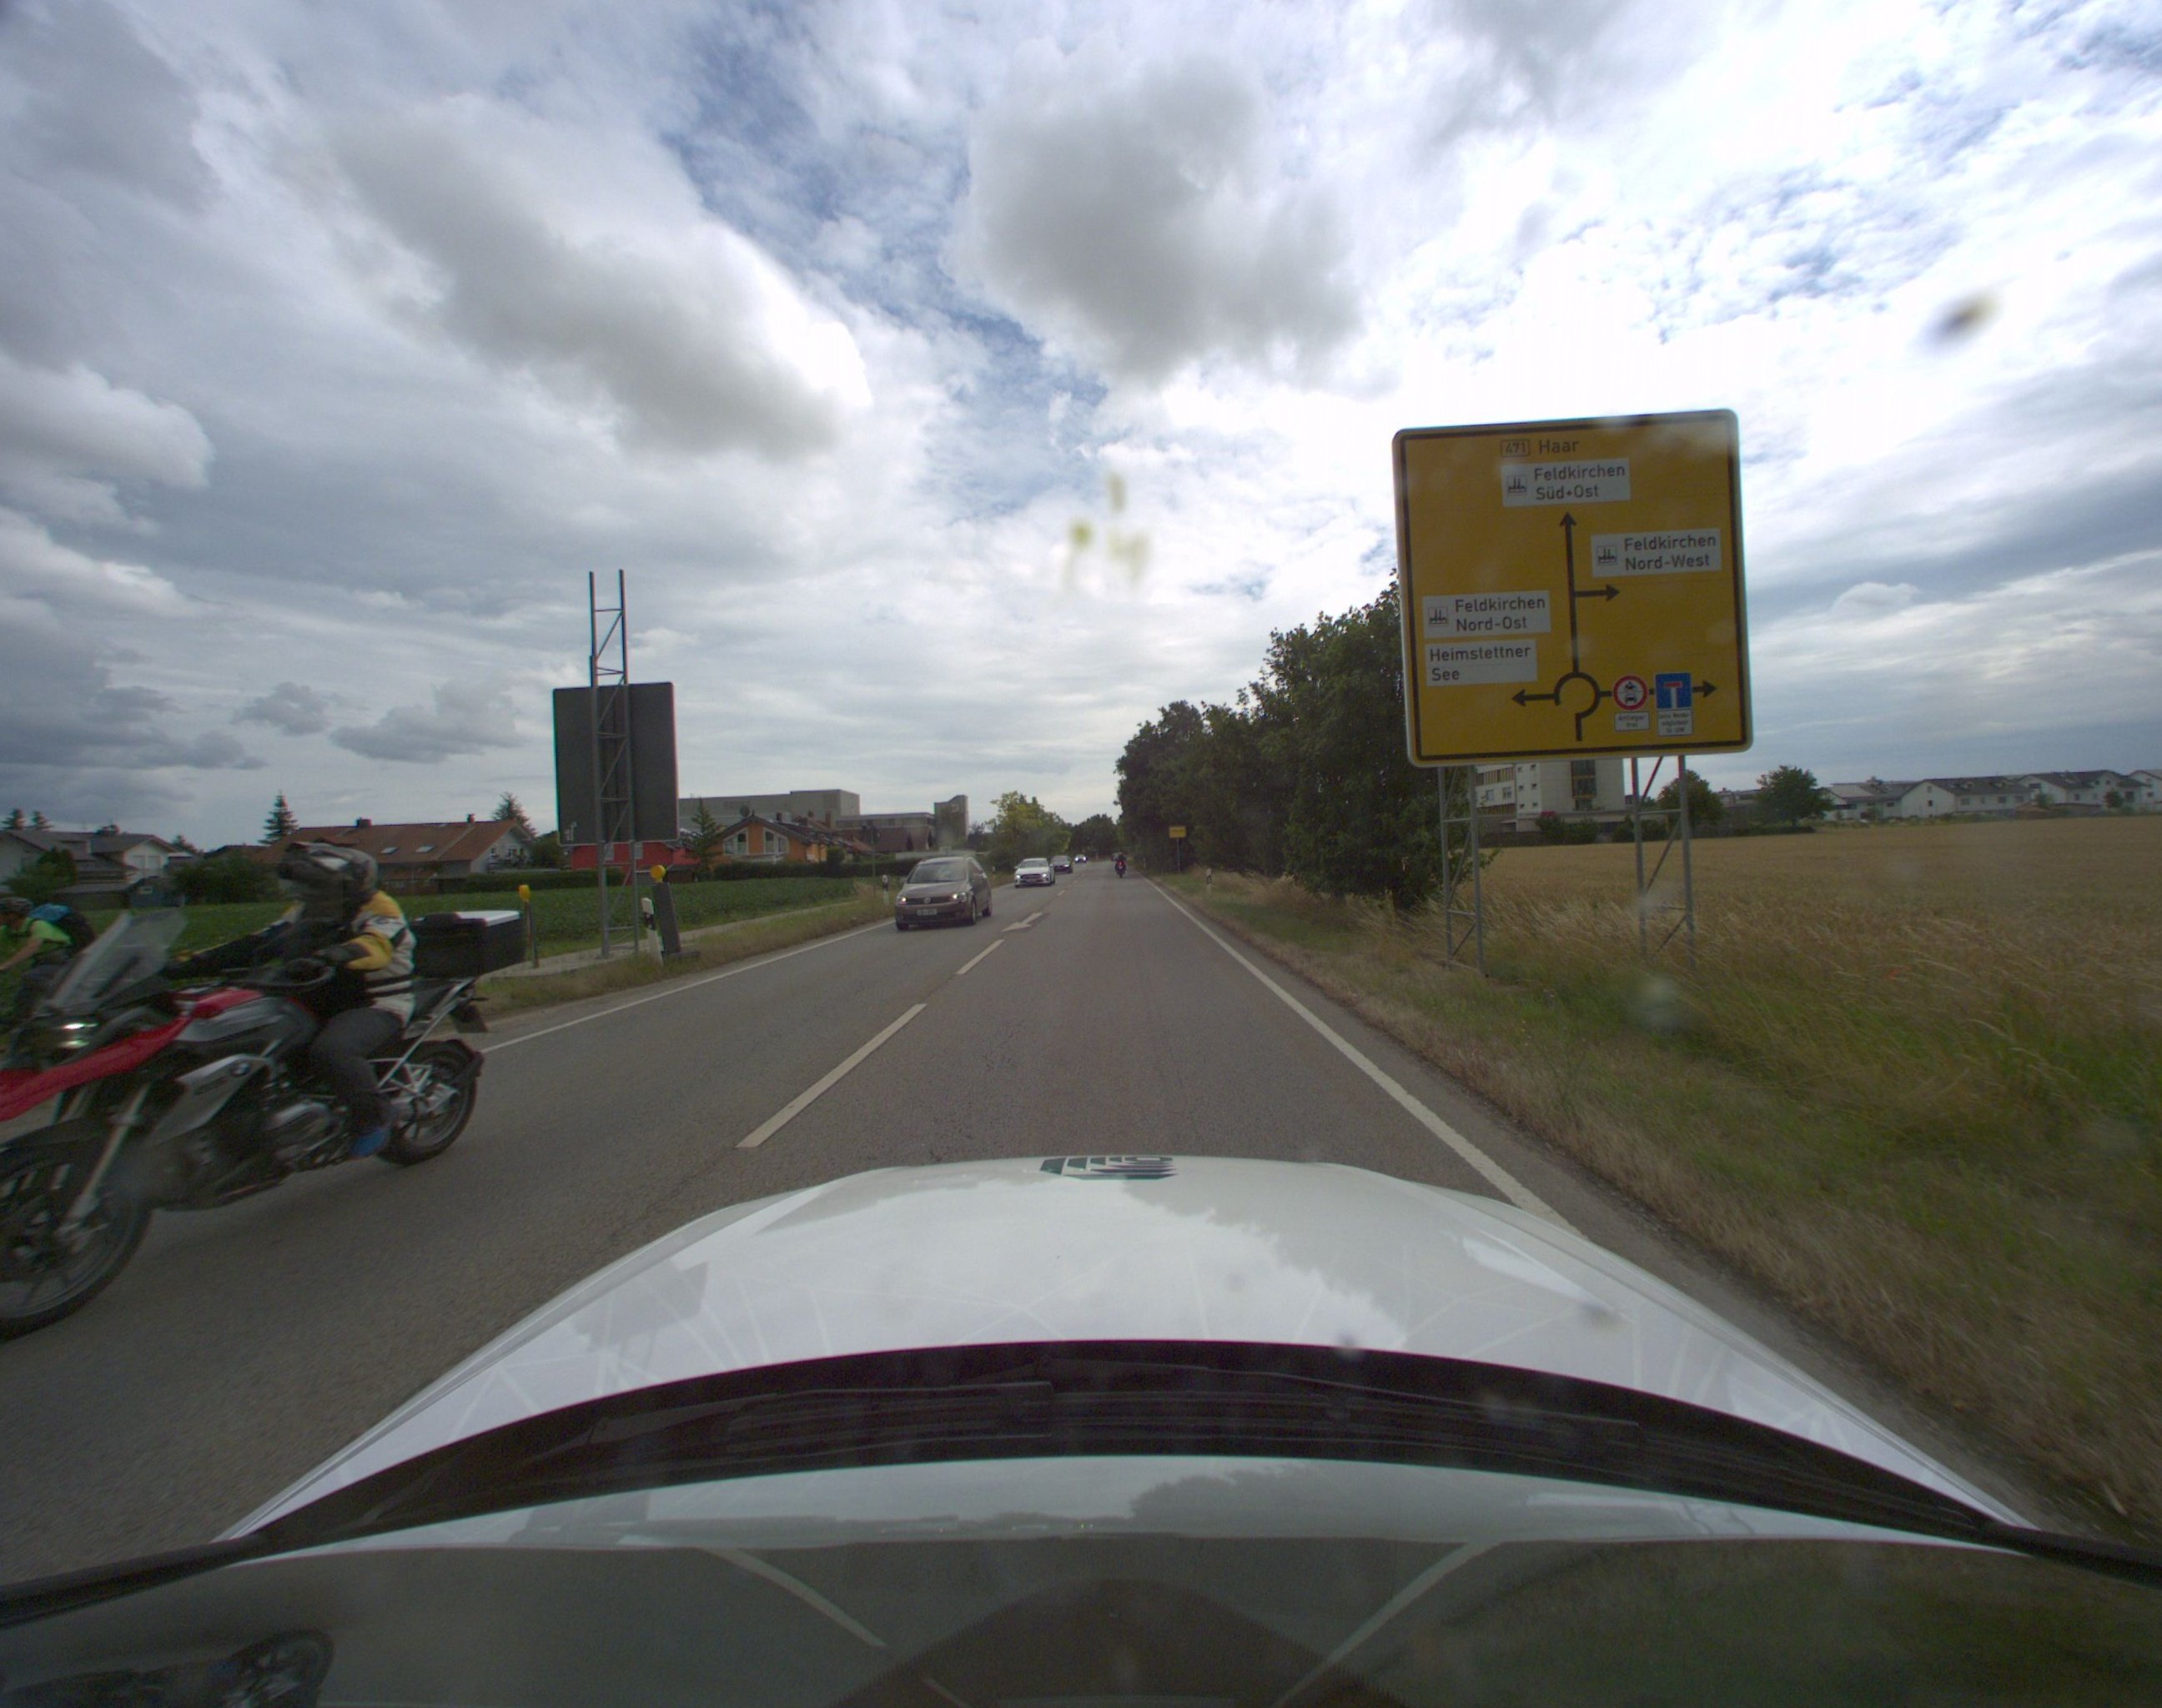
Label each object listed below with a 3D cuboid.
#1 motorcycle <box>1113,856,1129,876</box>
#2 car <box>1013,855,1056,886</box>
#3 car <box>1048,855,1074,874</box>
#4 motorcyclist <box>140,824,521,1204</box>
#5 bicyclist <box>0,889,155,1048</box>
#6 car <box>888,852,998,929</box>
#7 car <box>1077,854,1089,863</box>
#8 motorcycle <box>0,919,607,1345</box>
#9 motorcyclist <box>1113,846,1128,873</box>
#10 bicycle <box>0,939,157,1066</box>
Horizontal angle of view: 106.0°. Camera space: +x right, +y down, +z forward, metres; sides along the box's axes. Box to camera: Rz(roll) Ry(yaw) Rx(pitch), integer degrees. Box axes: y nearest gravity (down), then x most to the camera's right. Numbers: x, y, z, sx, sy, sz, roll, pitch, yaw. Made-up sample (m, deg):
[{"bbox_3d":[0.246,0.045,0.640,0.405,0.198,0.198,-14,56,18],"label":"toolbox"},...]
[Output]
[{"bbox_3d":[2.448,0.733,50.134,0.893,1.158,2.621,-2,0,2],"label":"motorcycle"},{"bbox_3d":[-2.321,0.794,41.627,1.766,1.373,4.102,-4,0,2],"label":"car"},{"bbox_3d":[-1.612,0.828,66.642,1.845,1.464,4.372,-3,0,1],"label":"car"},{"bbox_3d":[-3.543,0.677,3.979,0.794,1.573,1.078,-2,0,1],"label":"motorcyclist"},{"bbox_3d":[-11.356,1.230,9.091,0.527,1.584,1.223,-4,0,2],"label":"bicyclist"},{"bbox_3d":[-3.180,0.792,19.613,1.698,1.540,4.303,-4,0,2],"label":"car"},{"bbox_3d":[0.291,0.775,138.511,1.809,1.494,4.206,-4,0,2],"label":"car"},{"bbox_3d":[-3.525,1.017,3.958,0.794,1.158,2.621,-2,0,2],"label":"motorcycle"},{"bbox_3d":[2.429,0.315,50.148,0.858,1.623,1.191,-2,0,1],"label":"motorcyclist"},{"bbox_3d":[-11.337,1.613,8.813,0.527,1.156,1.795,-4,0,2],"label":"bicycle"}]
